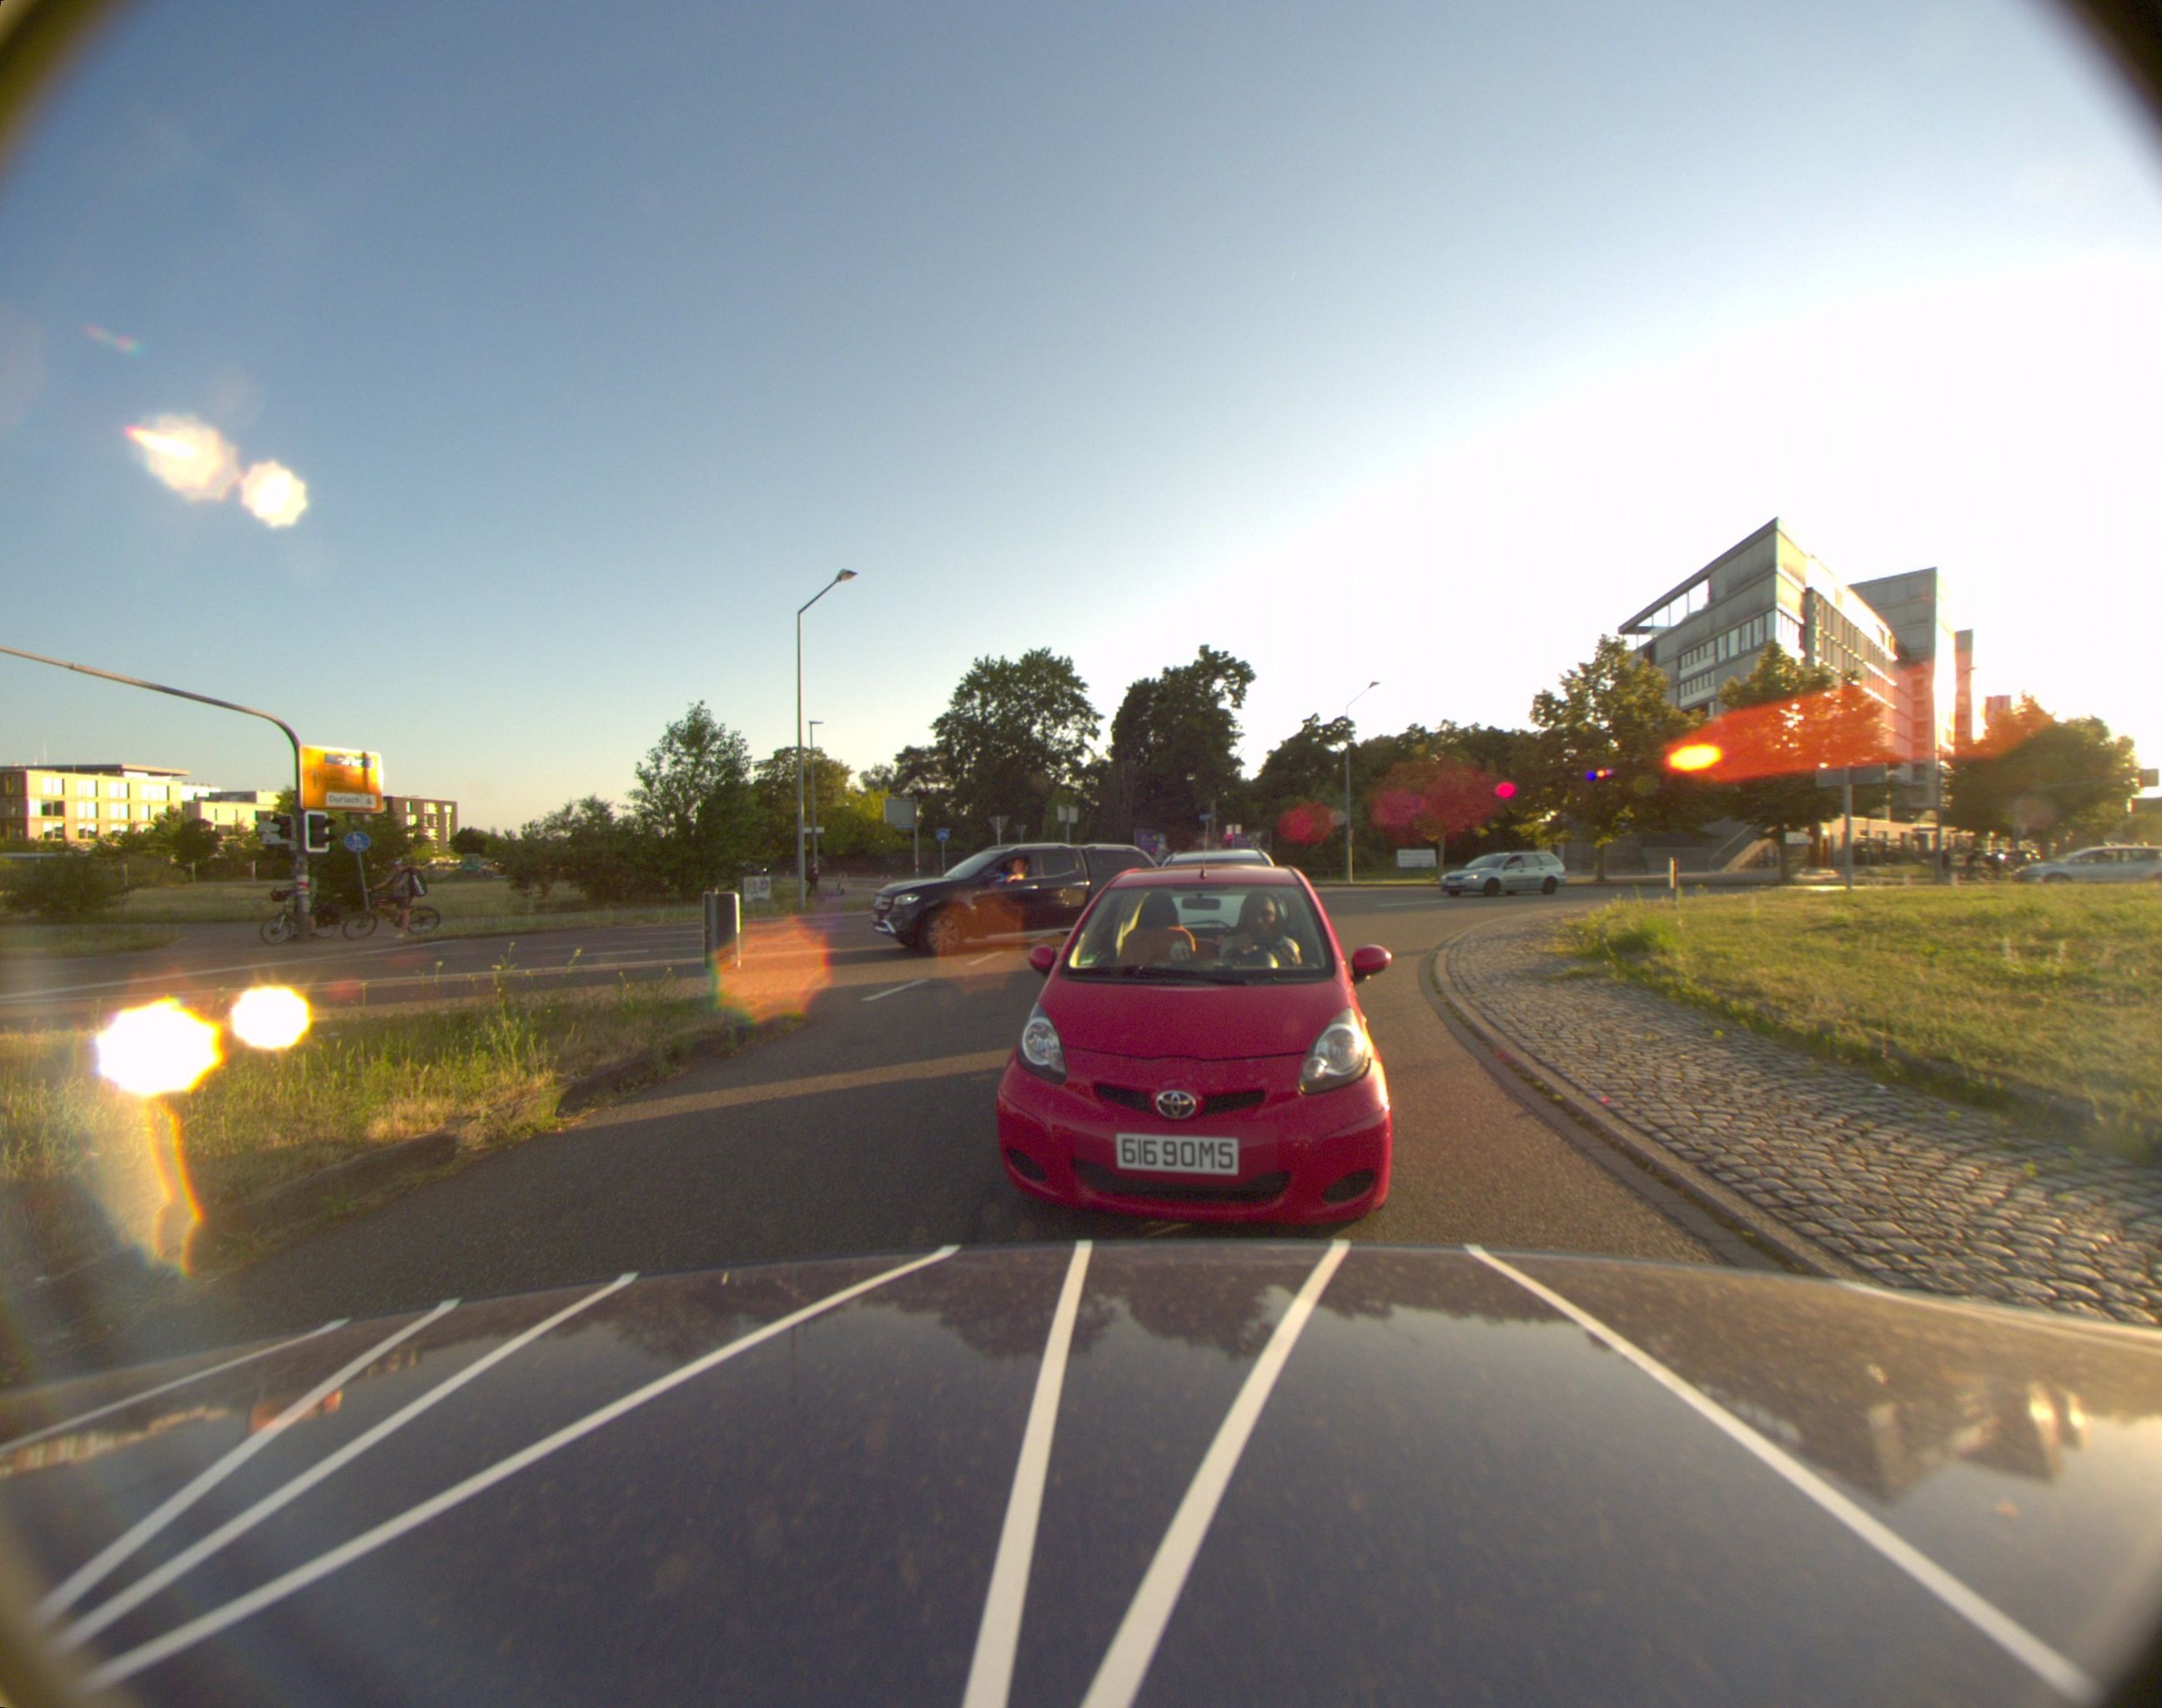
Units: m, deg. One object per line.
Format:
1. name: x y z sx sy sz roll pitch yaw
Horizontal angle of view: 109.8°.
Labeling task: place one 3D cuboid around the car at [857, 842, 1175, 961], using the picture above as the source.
1. car: -1.099 0.749 13.645 5.314 1.801 1.996 0 -2 -28

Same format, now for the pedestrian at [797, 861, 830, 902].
1. pedestrian: -10.563 1.076 30.004 0.994 1.581 0.924 -2 1 -36

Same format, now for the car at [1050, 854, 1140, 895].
1. car: 0.509 0.809 32.221 2.003 1.588 4.304 -1 0 -28

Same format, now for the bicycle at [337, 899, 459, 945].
1. bicycle: -17.152 1.675 19.142 0.708 0.957 2.149 -1 0 26

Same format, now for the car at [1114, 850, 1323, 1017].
1. car: 1.698 0.772 9.506 1.997 1.597 4.201 -1 0 10

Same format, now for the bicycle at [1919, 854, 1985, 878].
1. bicycle: 47.096 0.625 41.105 0.744 1.237 2.341 -2 1 -41

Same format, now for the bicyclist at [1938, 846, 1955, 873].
1. bicyclist: 46.983 0.305 41.247 0.693 1.432 0.610 -2 1 -42

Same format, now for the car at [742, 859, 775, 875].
1. car: -32.364 1.276 76.133 2.004 1.477 3.989 -1 0 -39

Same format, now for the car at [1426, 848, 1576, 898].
1. car: 14.246 0.604 25.813 4.571 1.550 1.830 -1 0 -18

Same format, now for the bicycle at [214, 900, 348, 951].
1. bicycle: -19.263 1.693 18.381 0.708 0.958 2.109 -1 2 14

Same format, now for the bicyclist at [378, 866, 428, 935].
1. bicyclist: -17.137 1.160 19.202 0.723 1.680 0.690 -1 1 28

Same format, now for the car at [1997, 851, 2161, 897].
1. car: 36.481 0.703 27.492 3.881 1.571 1.958 -1 0 33

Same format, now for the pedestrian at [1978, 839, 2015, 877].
1. pedestrian: 49.376 0.193 40.976 0.776 2.002 0.998 -2 1 -11

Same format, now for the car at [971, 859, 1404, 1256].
1. car: 0.868 0.781 4.945 1.686 1.412 4.004 -1 0 15

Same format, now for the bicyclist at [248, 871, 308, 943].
1. bicyclist: -19.322 1.252 18.294 0.724 1.680 0.690 -1 1 12
